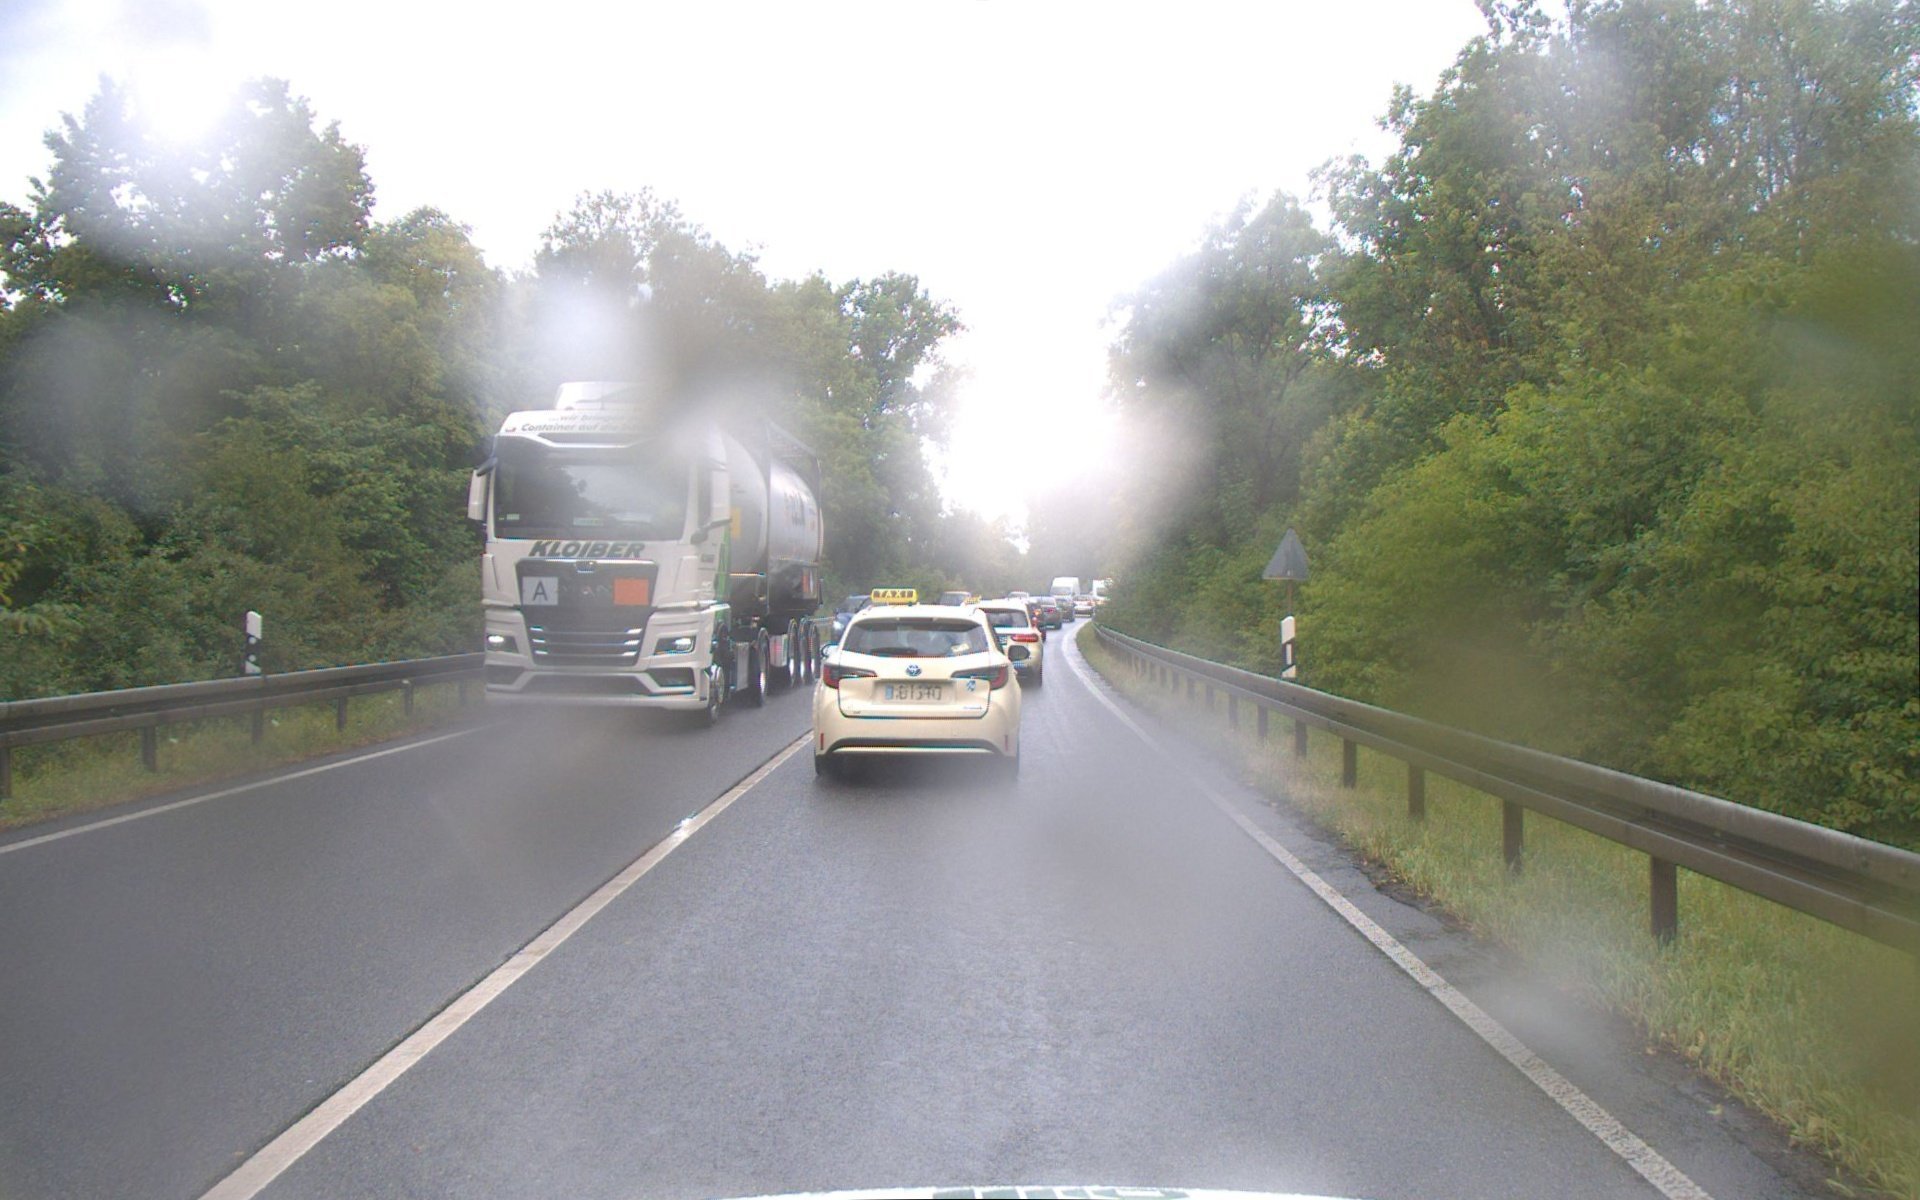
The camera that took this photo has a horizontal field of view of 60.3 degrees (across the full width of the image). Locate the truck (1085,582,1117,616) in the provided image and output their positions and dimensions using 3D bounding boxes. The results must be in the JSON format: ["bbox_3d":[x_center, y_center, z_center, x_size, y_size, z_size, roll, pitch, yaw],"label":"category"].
[{"bbox_3d":[11.736,-0.046,138.123,2.496,2.760,7.538,1,-1,4],"label":"truck"}]

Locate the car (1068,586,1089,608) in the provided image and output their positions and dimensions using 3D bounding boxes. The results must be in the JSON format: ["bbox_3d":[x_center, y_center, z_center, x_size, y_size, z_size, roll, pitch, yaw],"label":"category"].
[{"bbox_3d":[11.482,-0.316,159.973,1.951,2.049,4.002,1,-1,5],"label":"car"}]

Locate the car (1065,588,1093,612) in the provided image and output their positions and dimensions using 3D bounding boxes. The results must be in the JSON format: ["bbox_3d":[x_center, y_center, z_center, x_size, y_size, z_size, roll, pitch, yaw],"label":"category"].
[{"bbox_3d":[8.361,0.013,116.053,1.732,1.574,3.817,1,-1,7],"label":"car"}]

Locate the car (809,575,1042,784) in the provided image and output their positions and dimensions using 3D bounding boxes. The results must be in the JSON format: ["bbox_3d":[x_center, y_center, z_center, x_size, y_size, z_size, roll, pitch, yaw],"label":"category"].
[{"bbox_3d":[-0.301,0.643,15.034,1.796,1.608,4.155,1,-1,-1],"label":"car"}]

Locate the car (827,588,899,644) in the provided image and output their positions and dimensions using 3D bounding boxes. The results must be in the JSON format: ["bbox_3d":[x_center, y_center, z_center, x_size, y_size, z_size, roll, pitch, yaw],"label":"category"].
[{"bbox_3d":[-2.805,0.474,48.543,1.672,1.542,3.914,1,-1,3],"label":"car"}]

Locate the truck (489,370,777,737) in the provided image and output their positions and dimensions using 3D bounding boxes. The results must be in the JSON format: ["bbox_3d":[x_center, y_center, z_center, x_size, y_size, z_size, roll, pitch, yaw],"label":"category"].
[{"bbox_3d":[-3.793,-0.476,20.375,2.484,3.892,5.244,1,-1,-1],"label":"truck"}]

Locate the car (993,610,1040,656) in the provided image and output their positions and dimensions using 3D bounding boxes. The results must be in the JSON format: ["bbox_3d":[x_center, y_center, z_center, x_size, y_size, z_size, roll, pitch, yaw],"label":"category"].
[{"bbox_3d":[2.054,1.137,59.064,1.577,1.574,3.815,0,0,3],"label":"car"}]

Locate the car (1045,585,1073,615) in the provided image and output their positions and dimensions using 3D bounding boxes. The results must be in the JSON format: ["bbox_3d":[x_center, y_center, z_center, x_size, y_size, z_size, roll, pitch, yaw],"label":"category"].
[{"bbox_3d":[5.724,0.013,95.874,1.582,1.641,3.622,1,-1,3],"label":"car"}]

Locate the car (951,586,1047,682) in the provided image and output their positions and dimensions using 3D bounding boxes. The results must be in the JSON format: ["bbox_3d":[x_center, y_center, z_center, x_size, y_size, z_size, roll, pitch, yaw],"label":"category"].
[{"bbox_3d":[0.738,0.601,30.269,1.633,1.608,3.893,1,-1,2],"label":"car"}]

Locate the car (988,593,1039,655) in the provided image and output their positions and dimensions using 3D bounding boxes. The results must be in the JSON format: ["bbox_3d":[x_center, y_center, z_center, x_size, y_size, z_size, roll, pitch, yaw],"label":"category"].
[{"bbox_3d":[1.407,0.628,44.013,1.274,1.574,3.260,1,-1,1],"label":"car"}]

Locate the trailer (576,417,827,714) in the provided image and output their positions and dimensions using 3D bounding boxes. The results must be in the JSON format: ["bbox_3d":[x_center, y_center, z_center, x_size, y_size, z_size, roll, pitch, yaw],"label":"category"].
[{"bbox_3d":[-3.726,-0.425,25.770,2.484,3.892,7.792,1,-1,1],"label":"trailer"}]

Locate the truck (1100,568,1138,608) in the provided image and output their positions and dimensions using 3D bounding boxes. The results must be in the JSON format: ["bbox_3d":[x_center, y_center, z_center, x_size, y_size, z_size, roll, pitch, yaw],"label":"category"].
[{"bbox_3d":[15.471,-1.115,160.700,3.041,3.745,7.006,1,-1,10],"label":"truck"}]

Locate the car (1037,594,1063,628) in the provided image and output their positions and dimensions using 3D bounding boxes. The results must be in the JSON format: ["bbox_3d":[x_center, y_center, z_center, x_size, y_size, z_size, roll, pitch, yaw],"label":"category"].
[{"bbox_3d":[4.200,0.516,77.018,1.143,1.574,2.604,1,-1,2],"label":"car"}]

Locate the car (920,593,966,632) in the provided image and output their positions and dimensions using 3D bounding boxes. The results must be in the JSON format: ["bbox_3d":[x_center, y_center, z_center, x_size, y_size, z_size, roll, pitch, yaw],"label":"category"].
[{"bbox_3d":[-0.738,0.527,74.062,1.808,1.672,4.300,1,0,3],"label":"car"}]
